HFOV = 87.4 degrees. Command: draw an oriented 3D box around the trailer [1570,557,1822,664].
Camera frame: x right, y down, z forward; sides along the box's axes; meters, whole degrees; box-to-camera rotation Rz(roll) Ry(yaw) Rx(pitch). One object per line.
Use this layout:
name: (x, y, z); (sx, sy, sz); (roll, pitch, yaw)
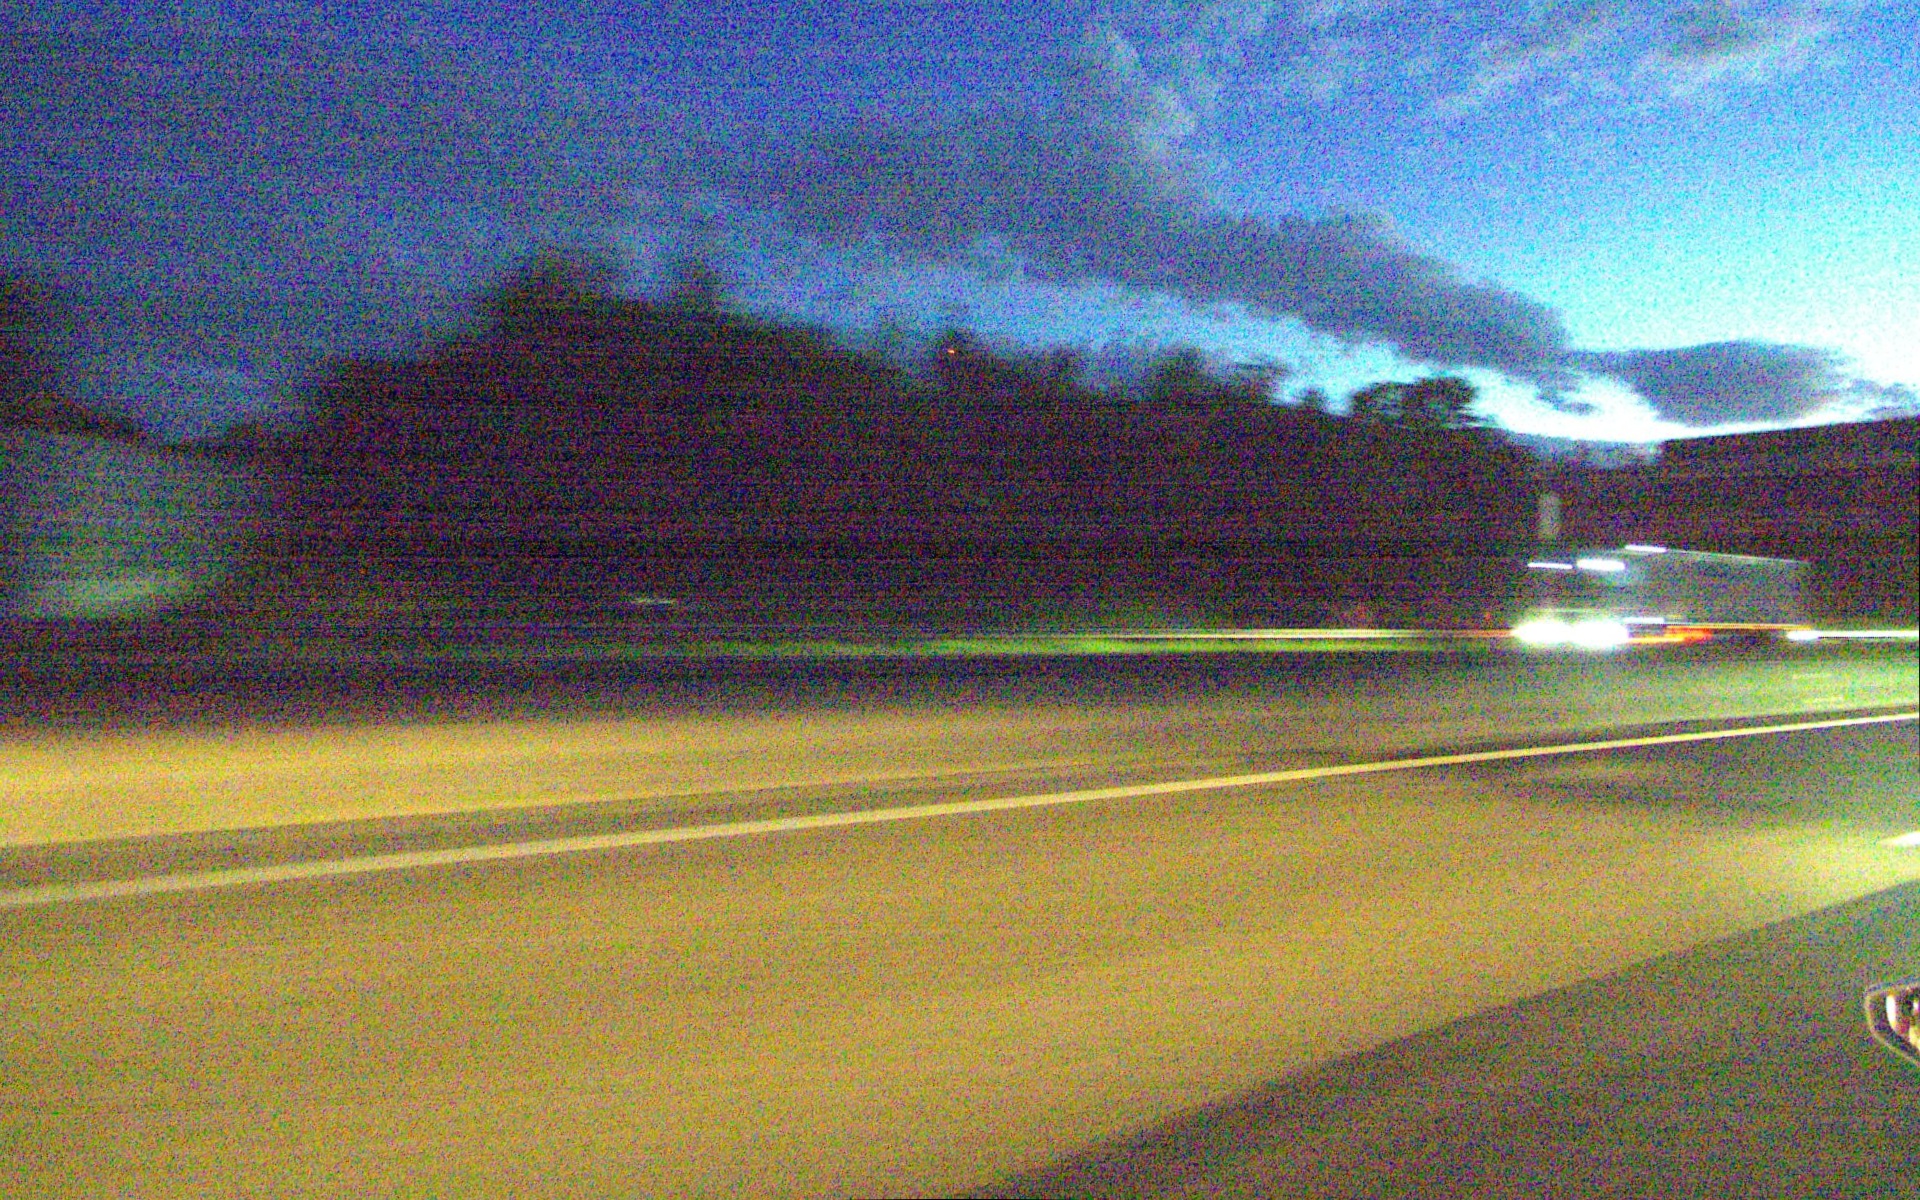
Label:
trailer: (31.483, 0.549, 42.633); (13.884, 4.033, 3.413); (1, -1, -30)

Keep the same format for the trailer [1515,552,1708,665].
trailer: (25.331, 0.388, 38.998); (7.266, 4.033, 3.414); (1, -1, -30)
